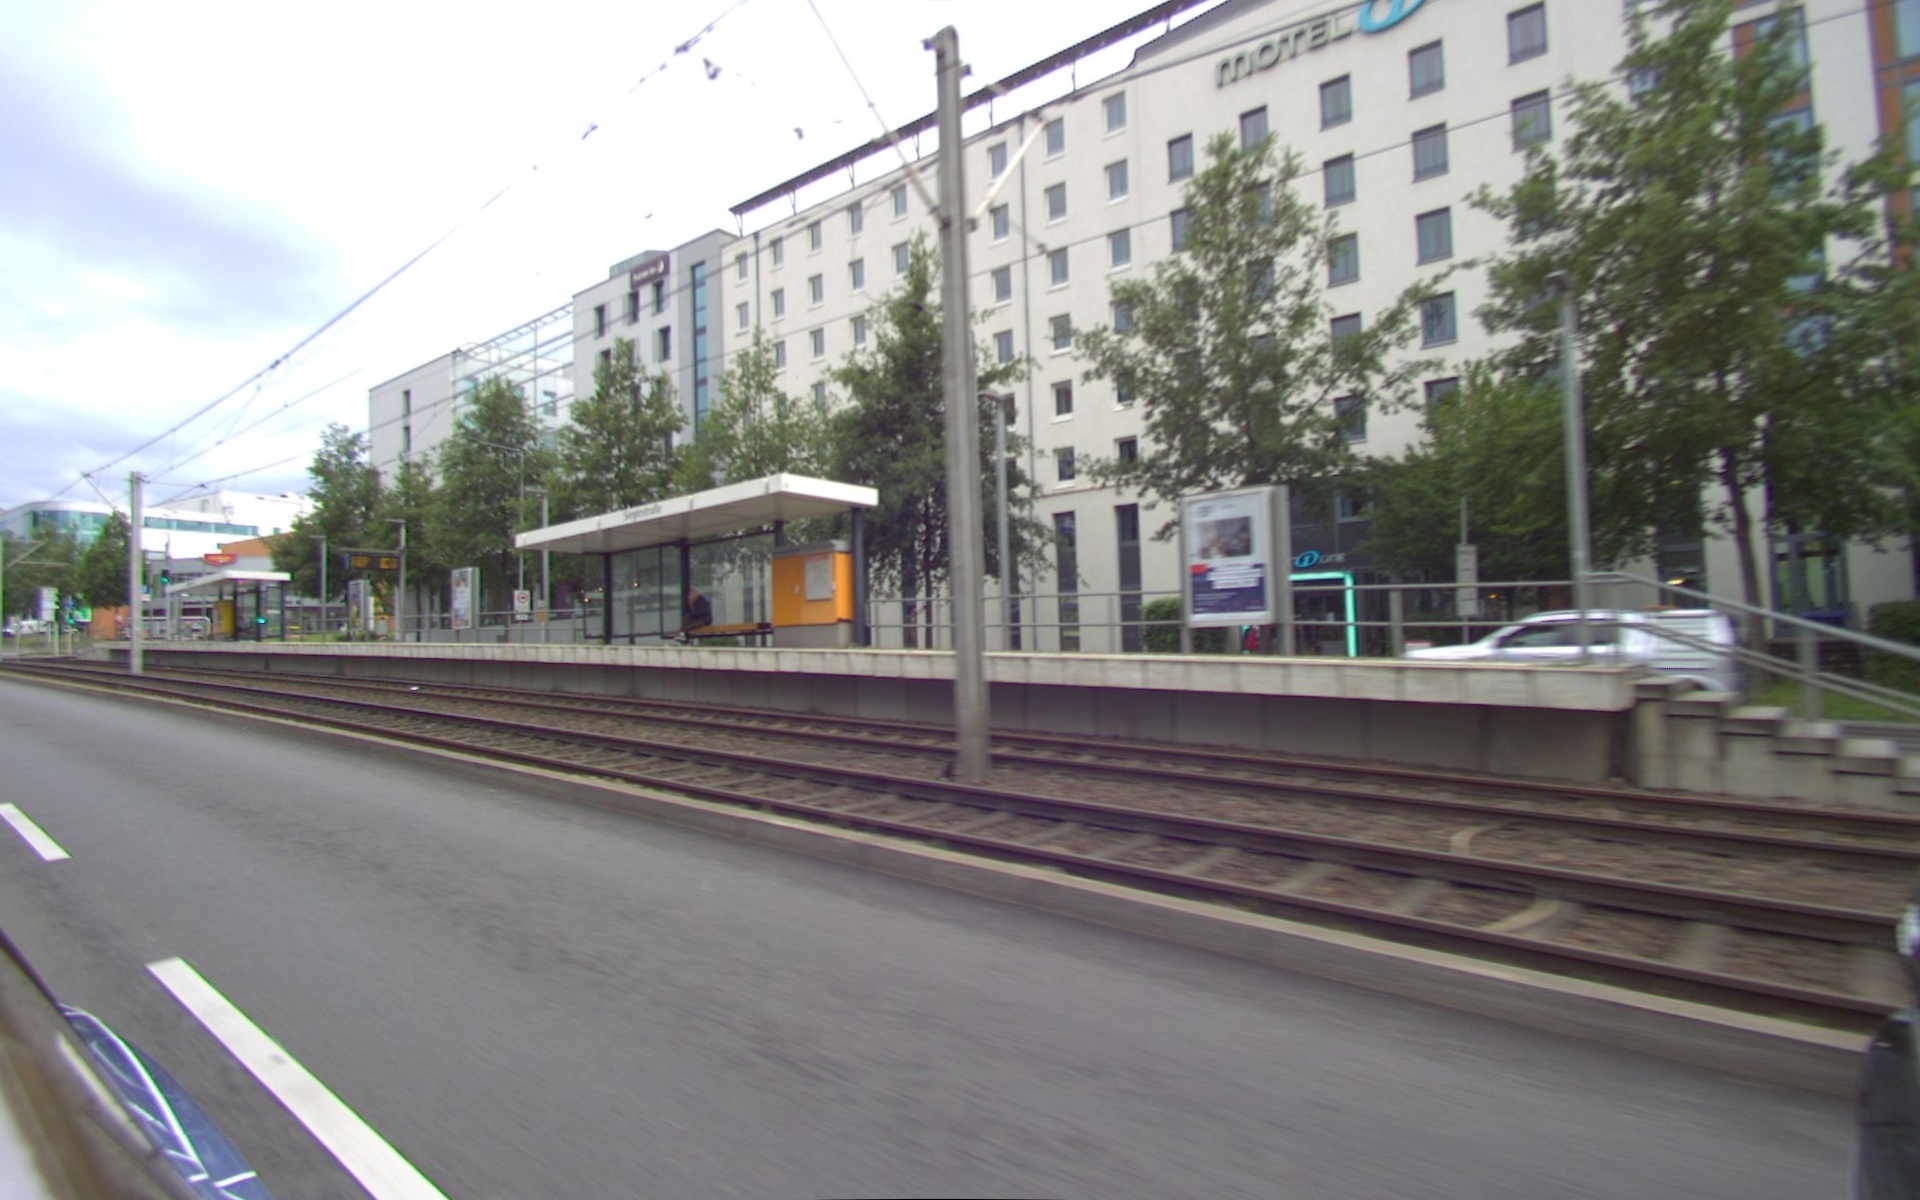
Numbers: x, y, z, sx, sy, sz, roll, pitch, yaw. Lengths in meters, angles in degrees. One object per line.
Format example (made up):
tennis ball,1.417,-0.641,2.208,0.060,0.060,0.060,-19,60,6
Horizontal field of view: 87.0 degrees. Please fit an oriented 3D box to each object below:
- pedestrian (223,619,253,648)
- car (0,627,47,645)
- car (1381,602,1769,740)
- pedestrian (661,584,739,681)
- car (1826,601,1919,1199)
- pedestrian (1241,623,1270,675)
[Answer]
pedestrian,-33.093,1.530,46.378,0.683,1.310,0.952,-2,-2,38
car,-145.607,5.576,156.961,2.262,2.648,5.449,-1,0,19
car,9.583,1.048,16.054,4.998,1.861,1.973,-2,-3,41
pedestrian,-5.701,0.686,22.192,1.270,2.029,1.115,-1,0,41
car,3.345,0.666,0.157,4.825,1.445,1.772,-2,-1,41
pedestrian,9.193,1.519,31.438,0.828,1.589,0.598,-1,0,18
